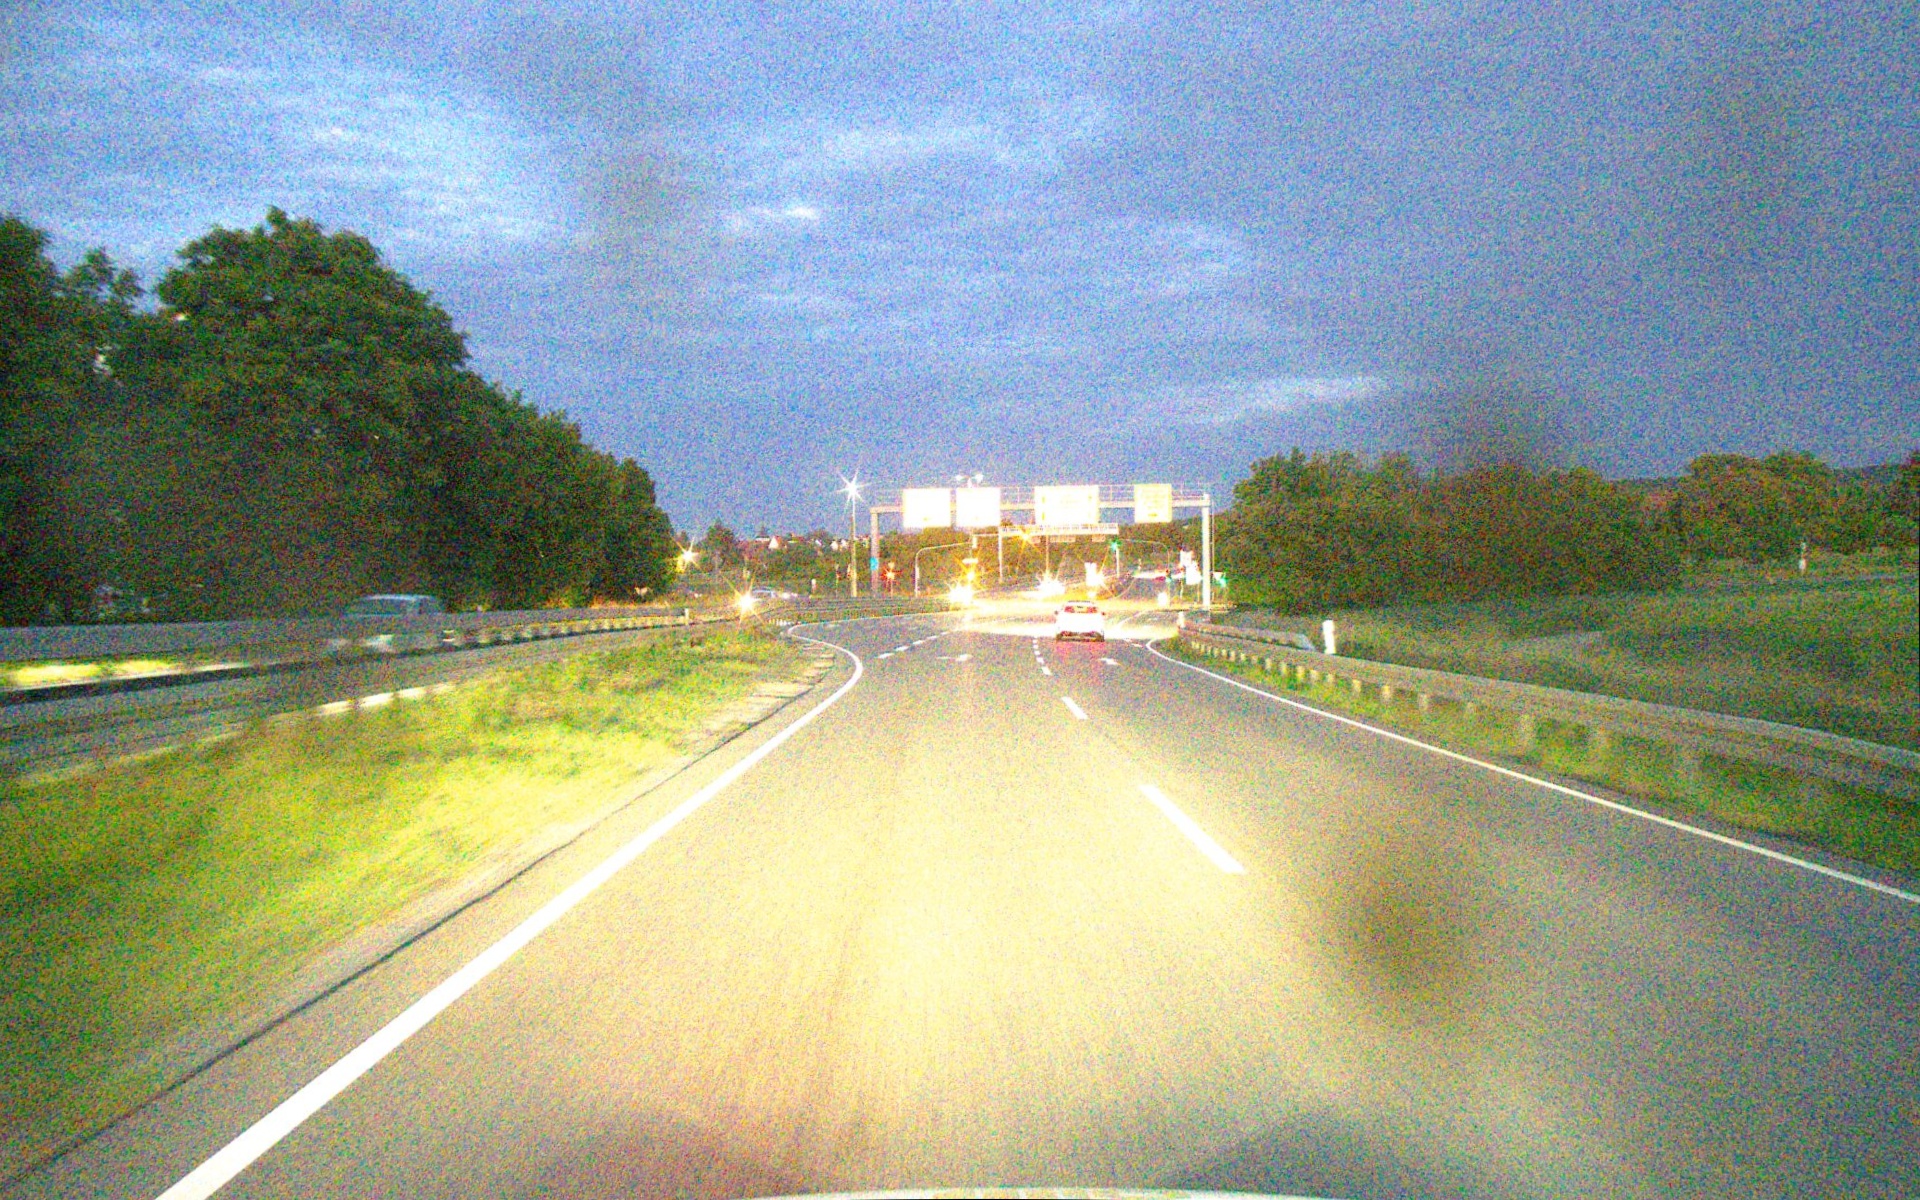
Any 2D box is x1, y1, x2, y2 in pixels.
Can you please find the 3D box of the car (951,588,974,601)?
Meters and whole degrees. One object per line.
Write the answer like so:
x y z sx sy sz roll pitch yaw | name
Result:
0.334 -0.651 187.781 1.951 1.450 4.536 0 1 9 | car

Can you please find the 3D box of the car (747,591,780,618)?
-12.503 0.251 105.518 1.666 1.651 4.306 1 0 -1 | car

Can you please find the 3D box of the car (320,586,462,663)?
-13.523 0.532 39.599 1.734 1.670 4.661 -2 0 0 | car

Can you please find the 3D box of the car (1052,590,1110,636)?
4.450 0.468 61.118 1.966 1.639 3.846 0 0 2 | car

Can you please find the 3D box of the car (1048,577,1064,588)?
13.719 -2.452 236.062 1.951 1.507 4.686 0 1 9 | car
